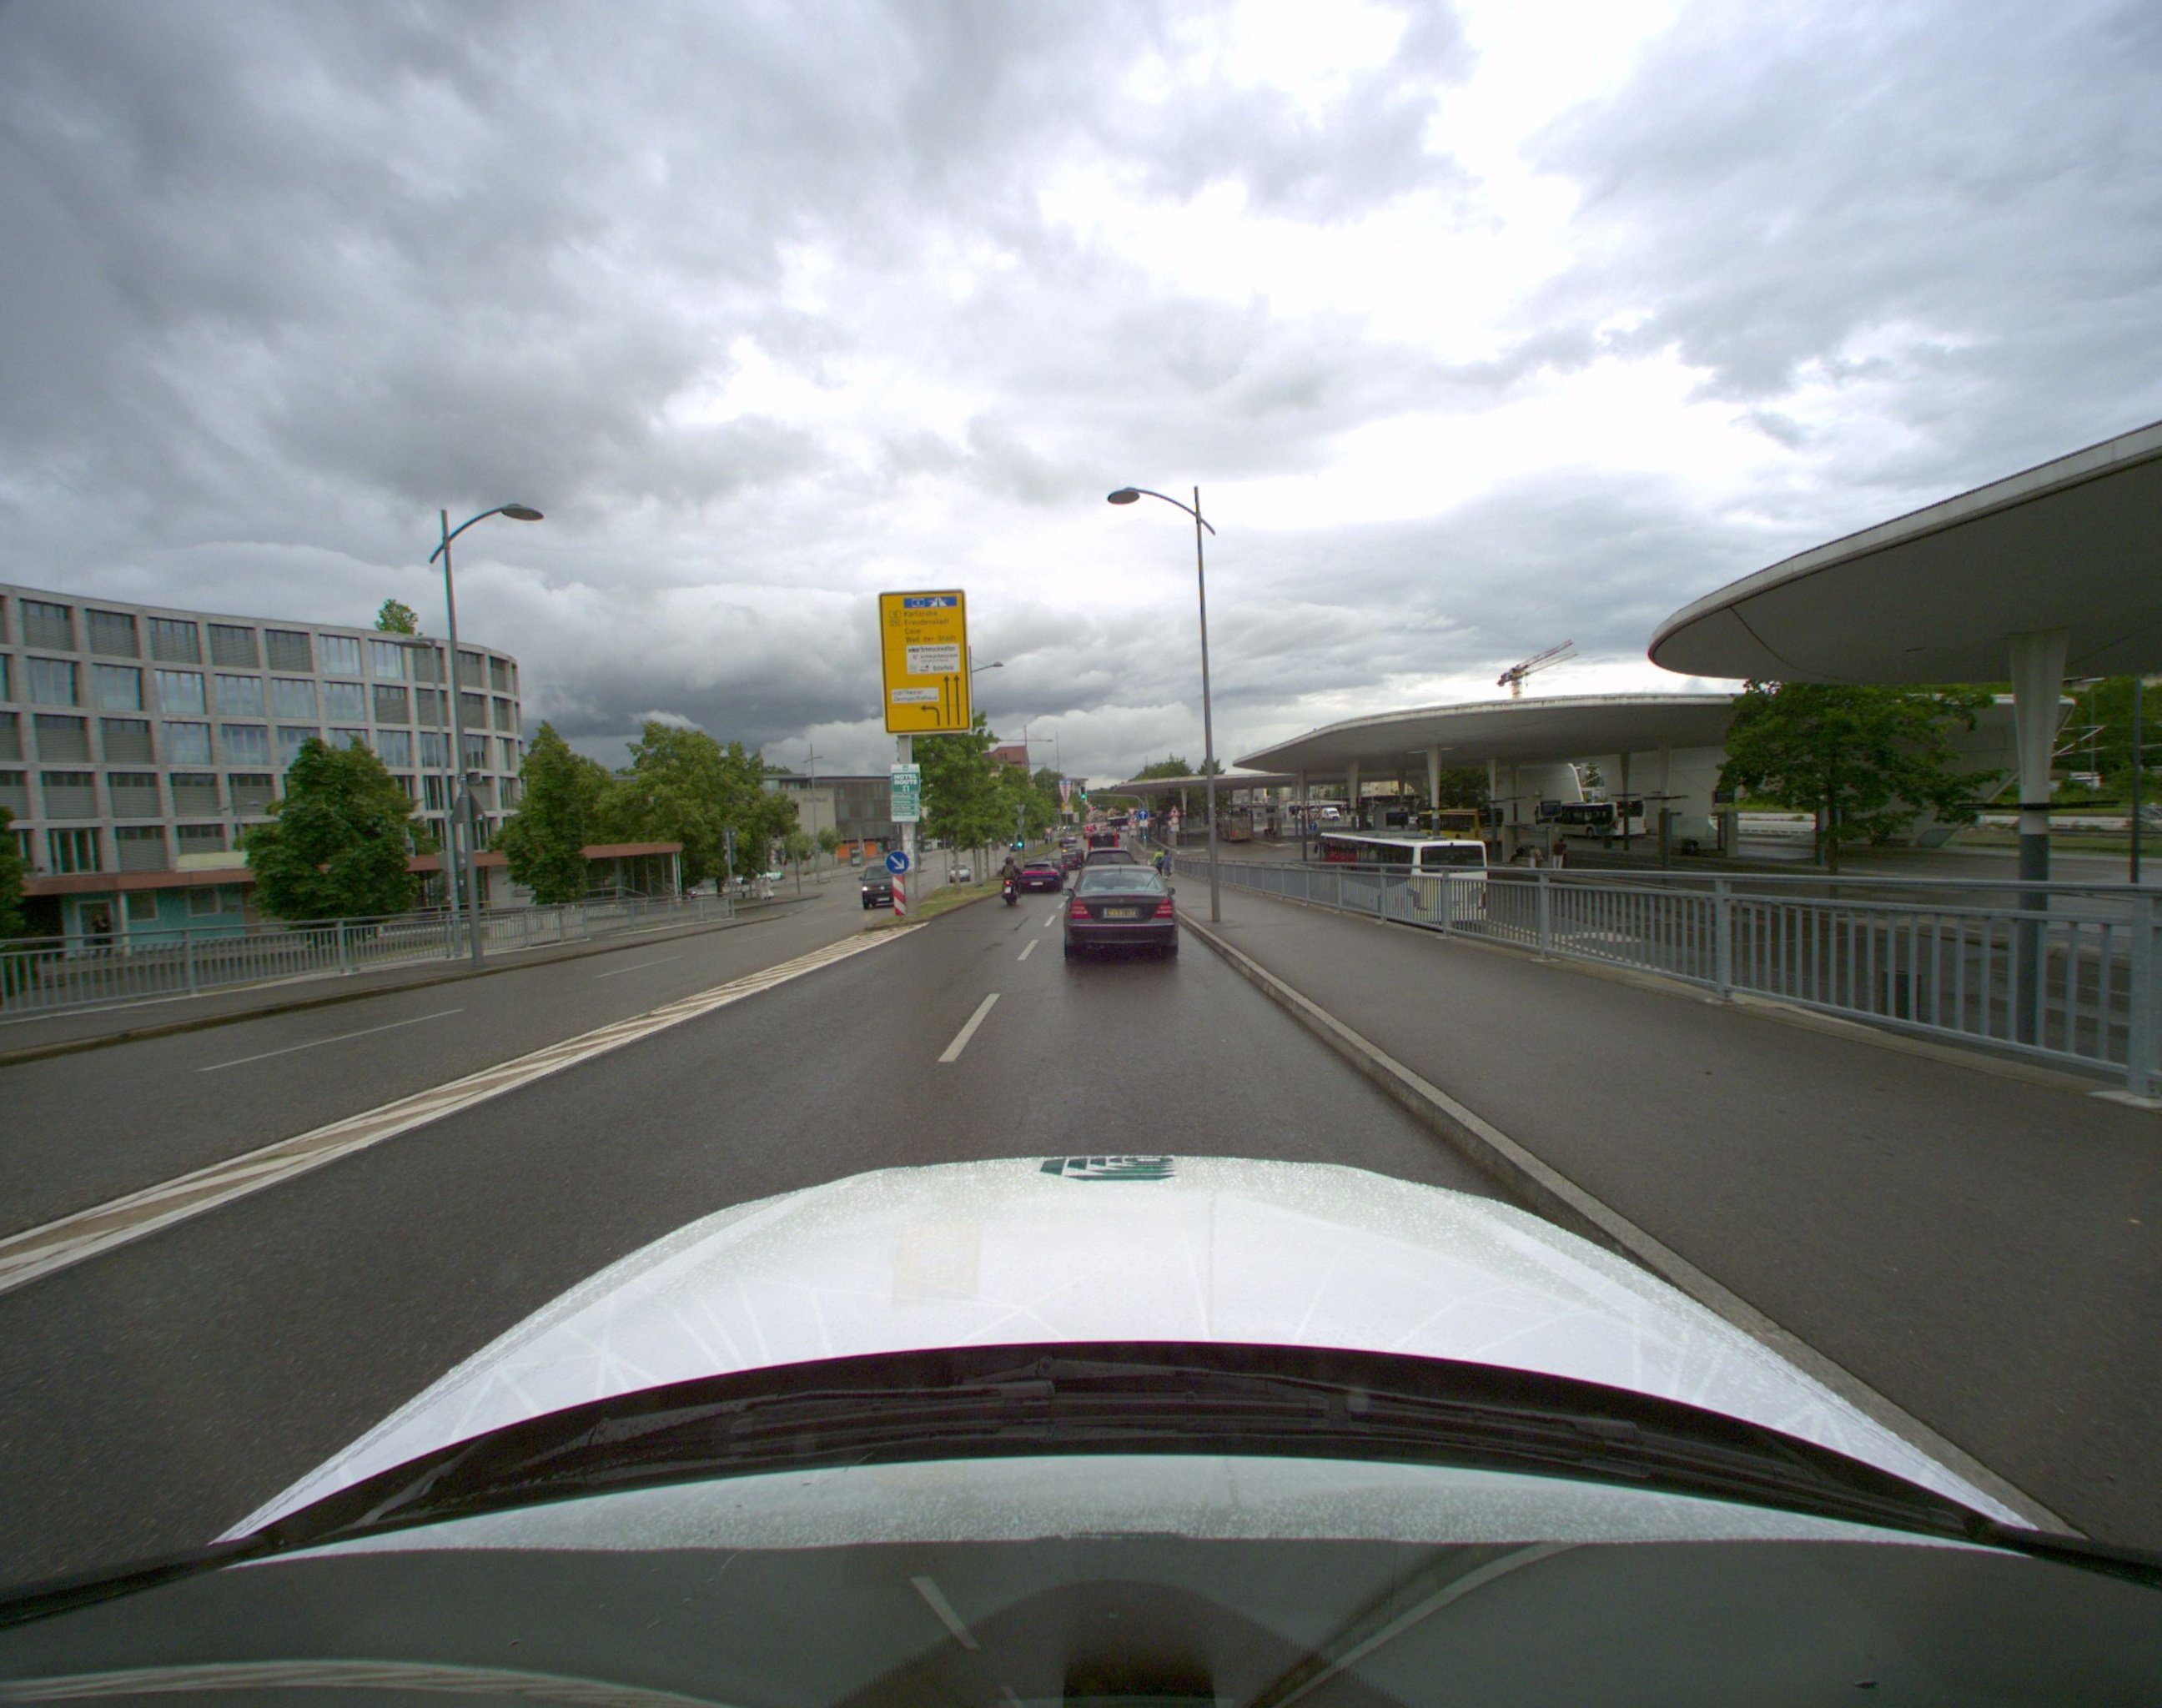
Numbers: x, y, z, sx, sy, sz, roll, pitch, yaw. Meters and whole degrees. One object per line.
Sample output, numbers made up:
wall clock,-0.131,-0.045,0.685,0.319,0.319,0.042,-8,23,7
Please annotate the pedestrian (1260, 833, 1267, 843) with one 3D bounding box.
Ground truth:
pedestrian,23.435,-2.024,104.556,0.786,1.226,0.637,-4,3,19

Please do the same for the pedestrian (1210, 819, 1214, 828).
pedestrian,22.703,-5.269,141.028,0.573,1.578,0.565,-1,-1,31

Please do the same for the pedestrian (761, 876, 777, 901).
pedestrian,-20.617,2.271,53.856,0.650,1.570,0.630,-5,0,-3

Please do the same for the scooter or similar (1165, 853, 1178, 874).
scooter or similar,5.270,0.549,47.401,0.462,1.221,1.860,-4,-1,1

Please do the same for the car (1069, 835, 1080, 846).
car,-1.137,-2.309,139.288,1.635,1.804,3.641,0,-1,2

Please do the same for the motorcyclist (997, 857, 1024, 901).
motorcyclist,-2.271,0.806,26.416,0.638,1.347,0.690,-5,3,5

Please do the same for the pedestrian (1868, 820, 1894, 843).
pedestrian,46.325,-1.312,47.157,0.706,1.325,0.802,0,-1,4

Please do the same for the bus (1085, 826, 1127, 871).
bus,2.294,-0.683,73.560,3.273,3.290,10.887,-5,3,3

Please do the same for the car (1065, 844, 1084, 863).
car,-0.620,-0.072,80.802,1.570,1.566,3.873,-6,3,2

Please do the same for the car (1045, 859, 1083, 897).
car,-0.897,1.293,44.667,1.735,1.566,3.873,-6,3,2

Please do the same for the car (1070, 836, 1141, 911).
car,0.795,0.538,26.758,1.950,1.875,4.877,-6,3,2

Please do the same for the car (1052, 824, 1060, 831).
car,-7.010,-7.447,228.122,1.773,1.566,3.432,-6,3,2

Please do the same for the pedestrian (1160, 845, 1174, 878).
pedestrian,4.376,0.377,41.432,0.587,1.670,0.580,-1,-2,1

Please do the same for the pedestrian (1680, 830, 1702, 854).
pedestrian,35.369,-0.689,47.252,0.705,1.325,0.803,0,-1,9

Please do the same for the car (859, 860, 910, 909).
car,-8.814,1.345,36.892,1.845,1.967,4.669,-3,-1,-10

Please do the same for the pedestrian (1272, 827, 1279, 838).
pedestrian,24.382,-2.720,102.179,0.786,1.377,0.637,-4,3,19

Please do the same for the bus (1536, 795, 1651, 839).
bus,43.416,-3.285,69.611,2.457,3.256,11.979,-5,3,2

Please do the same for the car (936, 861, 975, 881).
car,-10.090,1.373,65.234,1.643,1.448,3.836,-6,2,-32

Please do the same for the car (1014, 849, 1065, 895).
car,-1.828,0.765,36.932,1.809,1.570,4.407,-6,3,2

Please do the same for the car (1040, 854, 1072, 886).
car,-1.578,1.013,52.457,1.670,1.622,3.873,-6,3,2

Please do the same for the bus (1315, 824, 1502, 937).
bus,12.608,0.647,33.179,2.835,3.360,12.433,0,4,1

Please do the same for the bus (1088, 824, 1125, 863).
bus,2.655,-1.155,82.136,3.278,3.288,8.857,-5,3,2

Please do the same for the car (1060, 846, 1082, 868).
car,-0.845,0.221,70.413,1.569,1.504,3.874,-6,3,3

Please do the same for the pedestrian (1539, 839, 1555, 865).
pedestrian,25.952,-0.102,45.376,0.566,1.393,0.558,-4,3,7

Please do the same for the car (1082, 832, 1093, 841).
car,1.247,-3.283,152.741,1.859,1.684,4.001,-1,0,1

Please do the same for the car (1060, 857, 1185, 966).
car,0.622,0.799,13.327,1.691,1.462,4.305,-1,0,1

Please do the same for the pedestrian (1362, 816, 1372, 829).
pedestrian,36.694,-4.060,104.528,0.793,1.585,0.907,-2,2,-5

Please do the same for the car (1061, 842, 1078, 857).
car,-1.384,-0.564,99.769,1.859,1.684,4.001,-1,0,1

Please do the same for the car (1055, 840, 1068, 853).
car,-2.960,-1.123,122.895,1.791,1.907,3.641,0,-1,2

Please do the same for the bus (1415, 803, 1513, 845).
bus,33.625,-2.685,72.238,2.779,3.256,12.141,-4,2,0

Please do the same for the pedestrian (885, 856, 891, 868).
pedestrian,-28.419,1.189,120.158,0.471,1.683,0.765,-4,3,8

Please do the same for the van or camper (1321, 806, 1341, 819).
van or camper,46.060,-7.647,150.207,1.986,2.102,5.482,-1,1,1

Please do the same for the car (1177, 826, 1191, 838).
car,16.463,-3.564,130.055,1.706,1.661,4.241,-3,3,1

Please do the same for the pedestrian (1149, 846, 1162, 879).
pedestrian,3.798,0.447,41.640,0.520,1.670,0.580,-3,0,1

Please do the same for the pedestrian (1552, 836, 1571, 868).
pedestrian,25.442,-0.099,43.097,0.646,1.654,0.632,-6,3,-39

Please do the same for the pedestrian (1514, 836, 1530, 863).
pedestrian,26.033,-0.254,48.066,0.587,1.589,0.677,0,-1,-3

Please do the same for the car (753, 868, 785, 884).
car,-37.225,2.633,97.206,1.615,1.495,3.599,-4,3,17

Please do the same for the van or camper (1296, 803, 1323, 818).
van or camper,43.858,-8.361,156.559,4.592,2.557,2.119,-1,1,0

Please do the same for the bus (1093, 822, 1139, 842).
bus,7.570,-4.780,178.277,2.861,3.986,11.729,-6,3,-37

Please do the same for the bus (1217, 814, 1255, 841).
bus,19.811,-3.538,105.065,2.711,3.042,12.096,-5,3,2

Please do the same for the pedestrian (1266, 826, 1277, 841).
pedestrian,22.183,-2.430,94.867,0.721,1.683,1.013,-7,3,-24

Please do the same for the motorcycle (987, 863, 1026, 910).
motorcycle,-2.357,1.024,26.104,0.789,1.261,1.858,-5,3,5

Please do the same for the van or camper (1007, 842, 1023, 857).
van or camper,-10.481,-0.771,129.644,2.215,2.072,5.270,-5,0,-7

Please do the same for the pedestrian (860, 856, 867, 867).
pedestrian,-28.737,0.939,107.570,0.676,1.392,0.721,-4,2,-1
